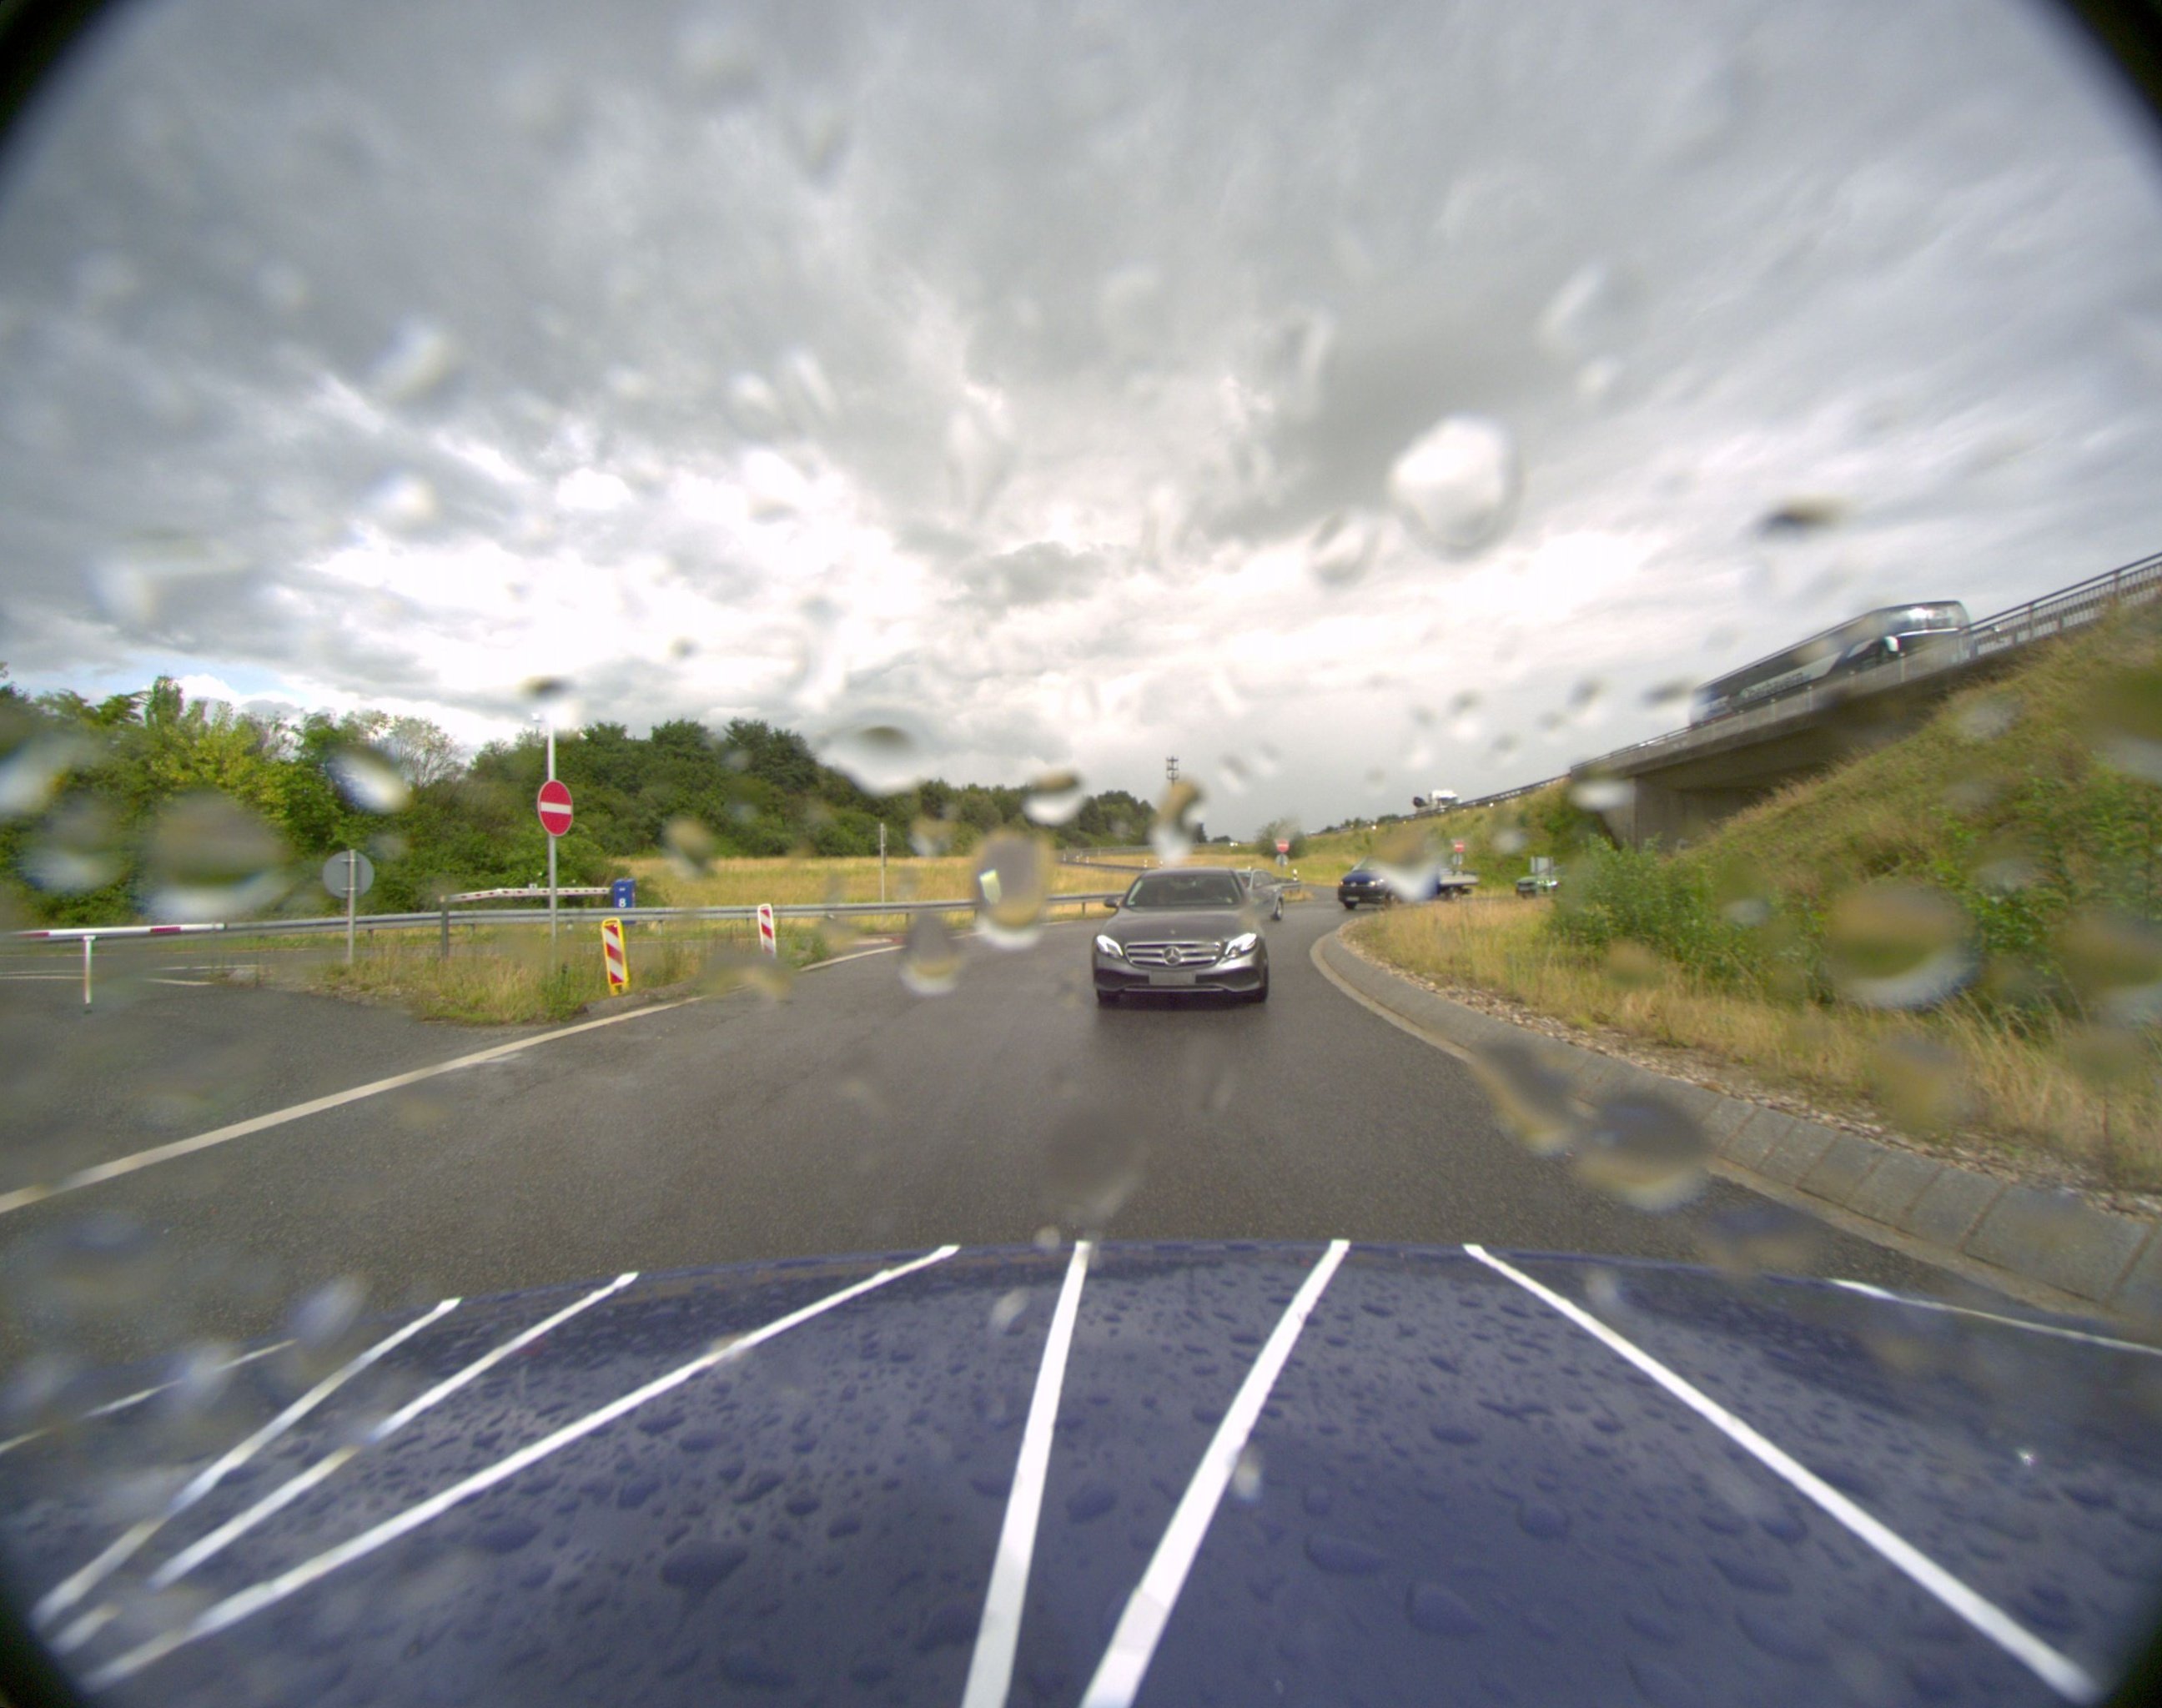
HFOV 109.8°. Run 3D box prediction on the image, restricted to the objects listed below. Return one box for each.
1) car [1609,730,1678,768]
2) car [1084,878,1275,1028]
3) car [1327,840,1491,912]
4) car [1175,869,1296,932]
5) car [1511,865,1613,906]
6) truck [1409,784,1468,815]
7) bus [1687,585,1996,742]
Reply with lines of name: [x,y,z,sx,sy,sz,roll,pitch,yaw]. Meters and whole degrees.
car: [36.233,-6.719,49.129,1.711,1.517,4.498,-12,-2,13]
car: [1.183,1.014,9.500,1.769,1.383,4.594,-1,-2,6]
car: [11.335,0.709,26.127,5.688,1.904,1.890,-5,0,-27]
car: [4.095,1.132,19.614,1.794,1.390,4.358,-3,-2,29]
car: [19.247,1.221,30.405,3.934,1.527,1.569,0,0,-25]
truck: [45.337,-6.813,96.736,3.158,3.175,9.280,-2,0,1]
bus: [31.036,-7.396,32.502,2.608,3.061,14.481,-2,0,16]
